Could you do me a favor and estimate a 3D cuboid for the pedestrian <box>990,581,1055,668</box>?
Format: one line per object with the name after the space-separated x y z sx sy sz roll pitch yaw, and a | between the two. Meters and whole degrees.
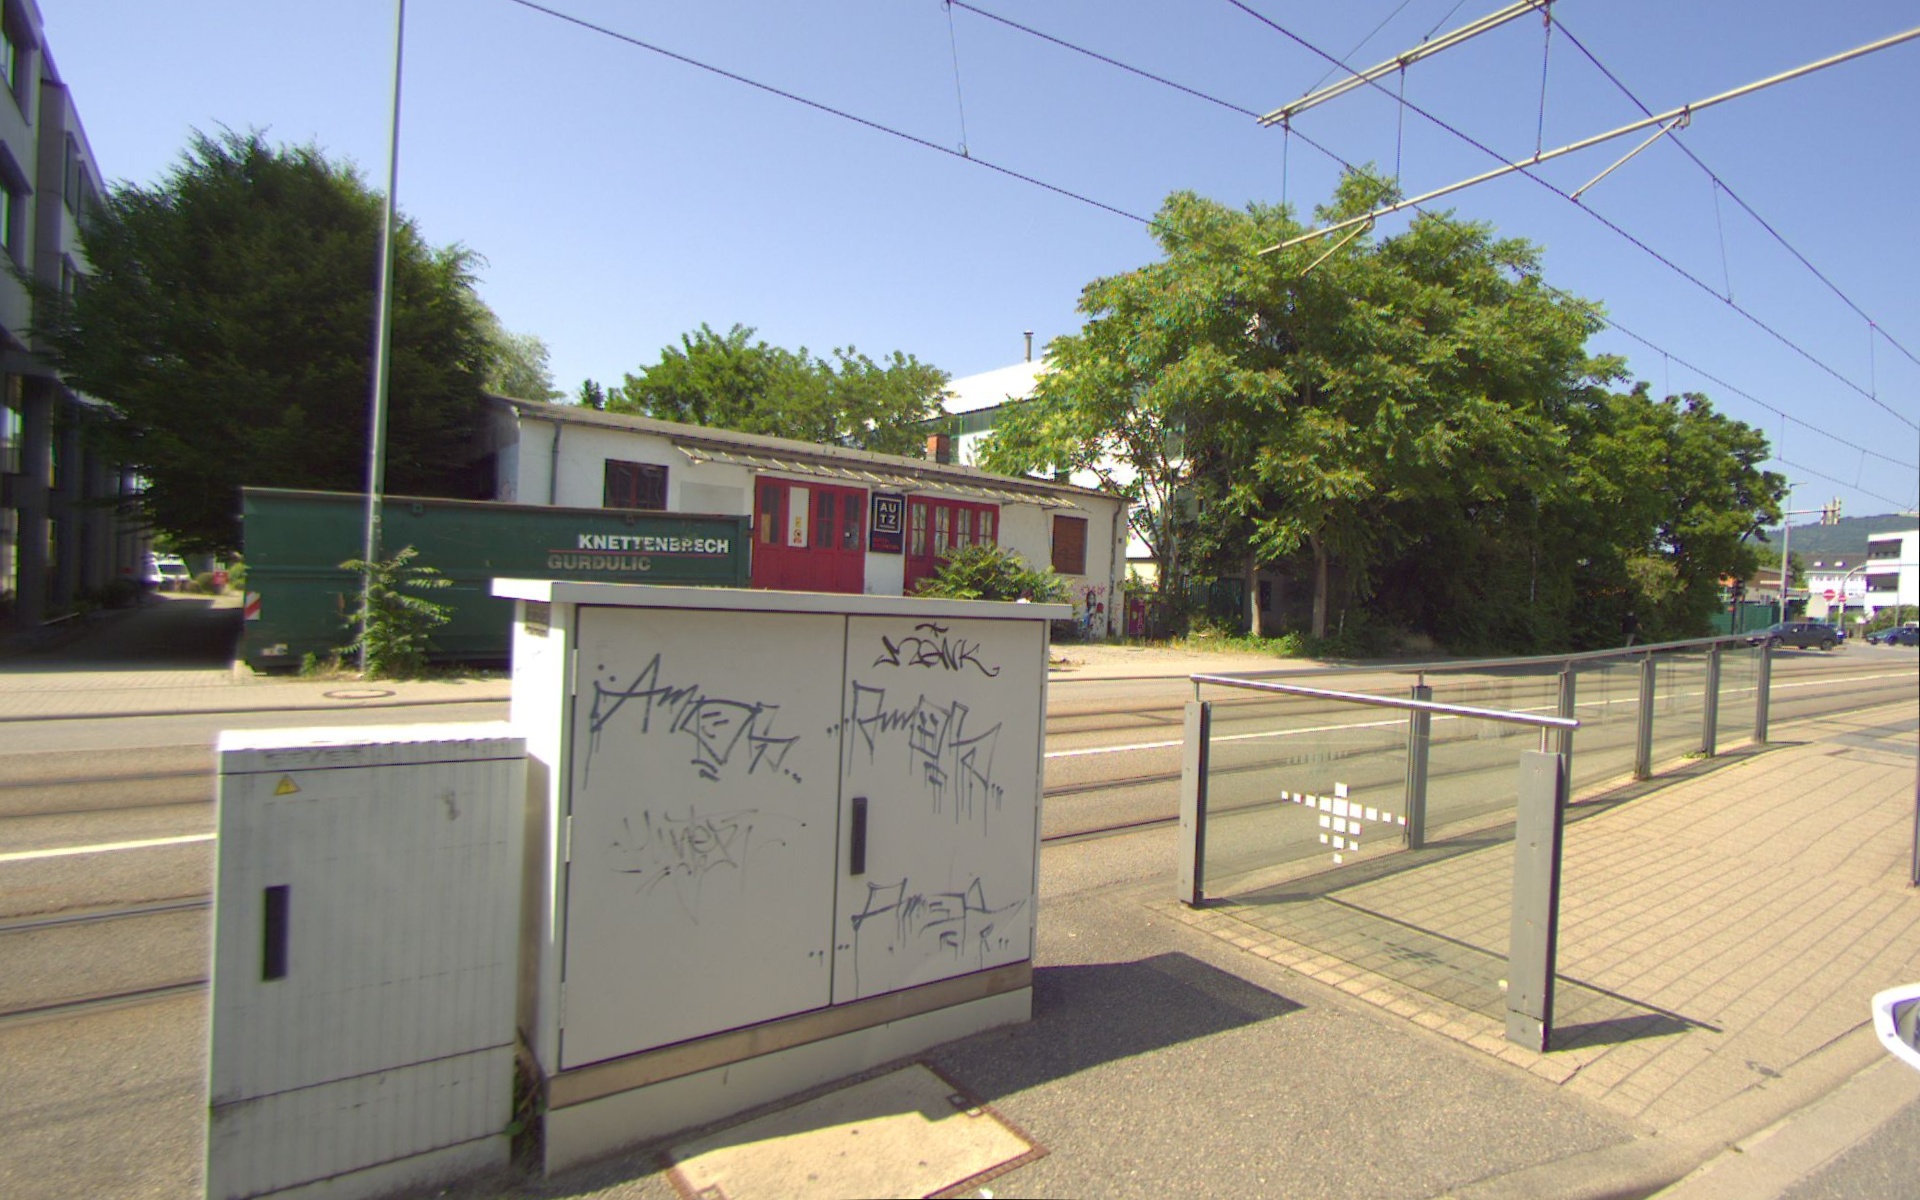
1.194 0.445 19.165 0.838 1.548 0.864 -2 6 -38 | pedestrian

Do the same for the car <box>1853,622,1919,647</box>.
69.940 2.567 74.791 4.811 1.687 1.957 2 0 12 | car

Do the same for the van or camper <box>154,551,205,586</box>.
-57.374 -2.313 73.806 4.189 2.441 1.992 1 0 38 | van or camper

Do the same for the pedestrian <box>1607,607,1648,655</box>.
24.444 1.130 36.789 1.150 1.692 0.879 2 0 -38 | pedestrian

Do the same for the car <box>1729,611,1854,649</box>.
45.253 1.606 54.792 4.811 1.862 2.102 2 0 8 | car
